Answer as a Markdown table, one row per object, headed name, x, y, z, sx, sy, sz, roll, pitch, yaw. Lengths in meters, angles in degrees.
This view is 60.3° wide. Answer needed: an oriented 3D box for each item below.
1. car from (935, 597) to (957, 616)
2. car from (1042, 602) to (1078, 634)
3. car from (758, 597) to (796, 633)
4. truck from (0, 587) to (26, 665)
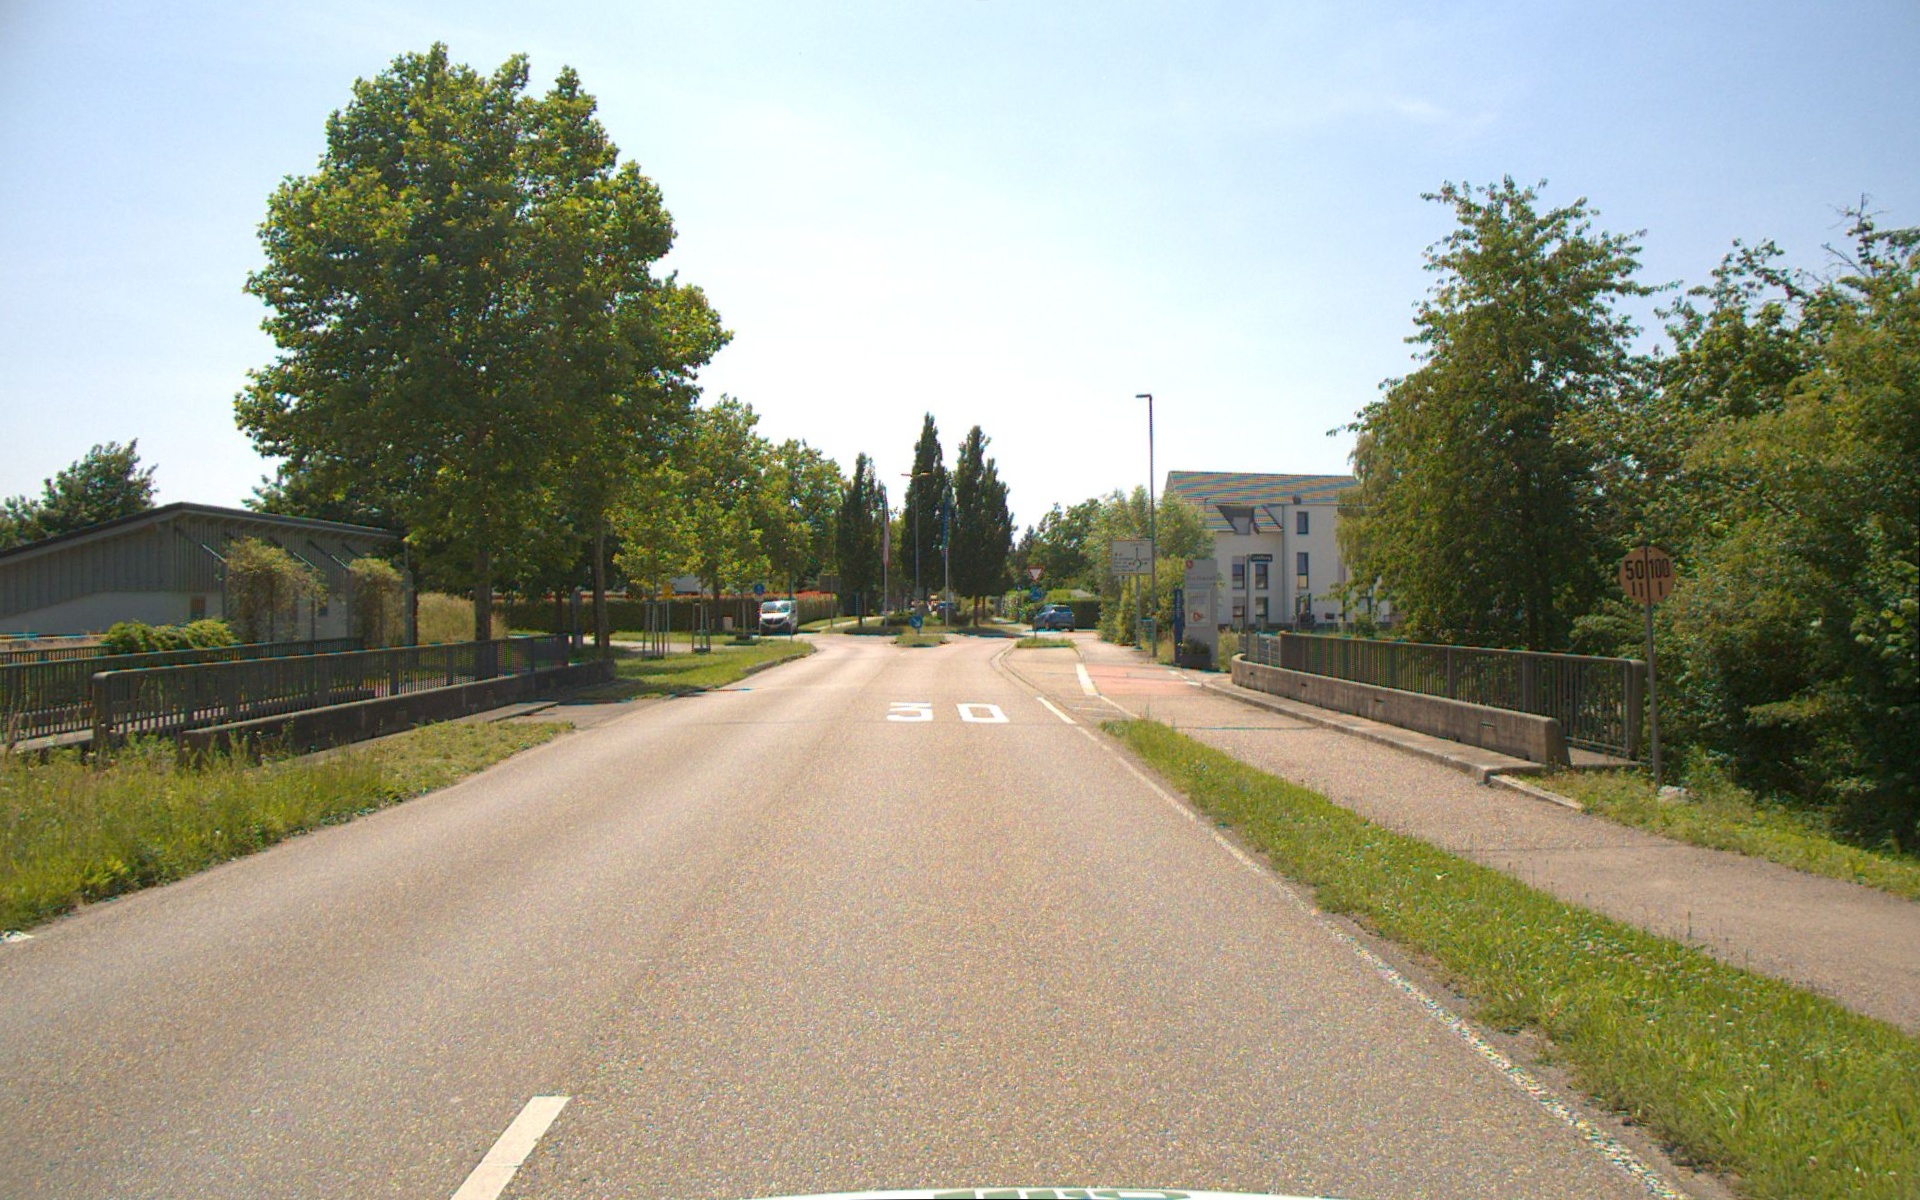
| name | x | y | z | sx | sy | sz | roll | pitch | yaw |
| --- | --- | --- | --- | --- | --- | --- | --- | --- | --- |
| car | -1.295 | 0.586 | 156.695 | 1.952 | 1.801 | 4.000 | 0 | 0 | 1 |
| car | 6.223 | 1.140 | 103.040 | 1.884 | 1.919 | 3.999 | 1 | -1 | -1 |
| car | -10.801 | 0.871 | 97.657 | 2.086 | 2.049 | 5.143 | 1 | -1 | -5 |
| truck | -28.975 | 0.743 | 46.186 | 2.926 | 2.255 | 5.170 | 0 | 0 | -1 |
